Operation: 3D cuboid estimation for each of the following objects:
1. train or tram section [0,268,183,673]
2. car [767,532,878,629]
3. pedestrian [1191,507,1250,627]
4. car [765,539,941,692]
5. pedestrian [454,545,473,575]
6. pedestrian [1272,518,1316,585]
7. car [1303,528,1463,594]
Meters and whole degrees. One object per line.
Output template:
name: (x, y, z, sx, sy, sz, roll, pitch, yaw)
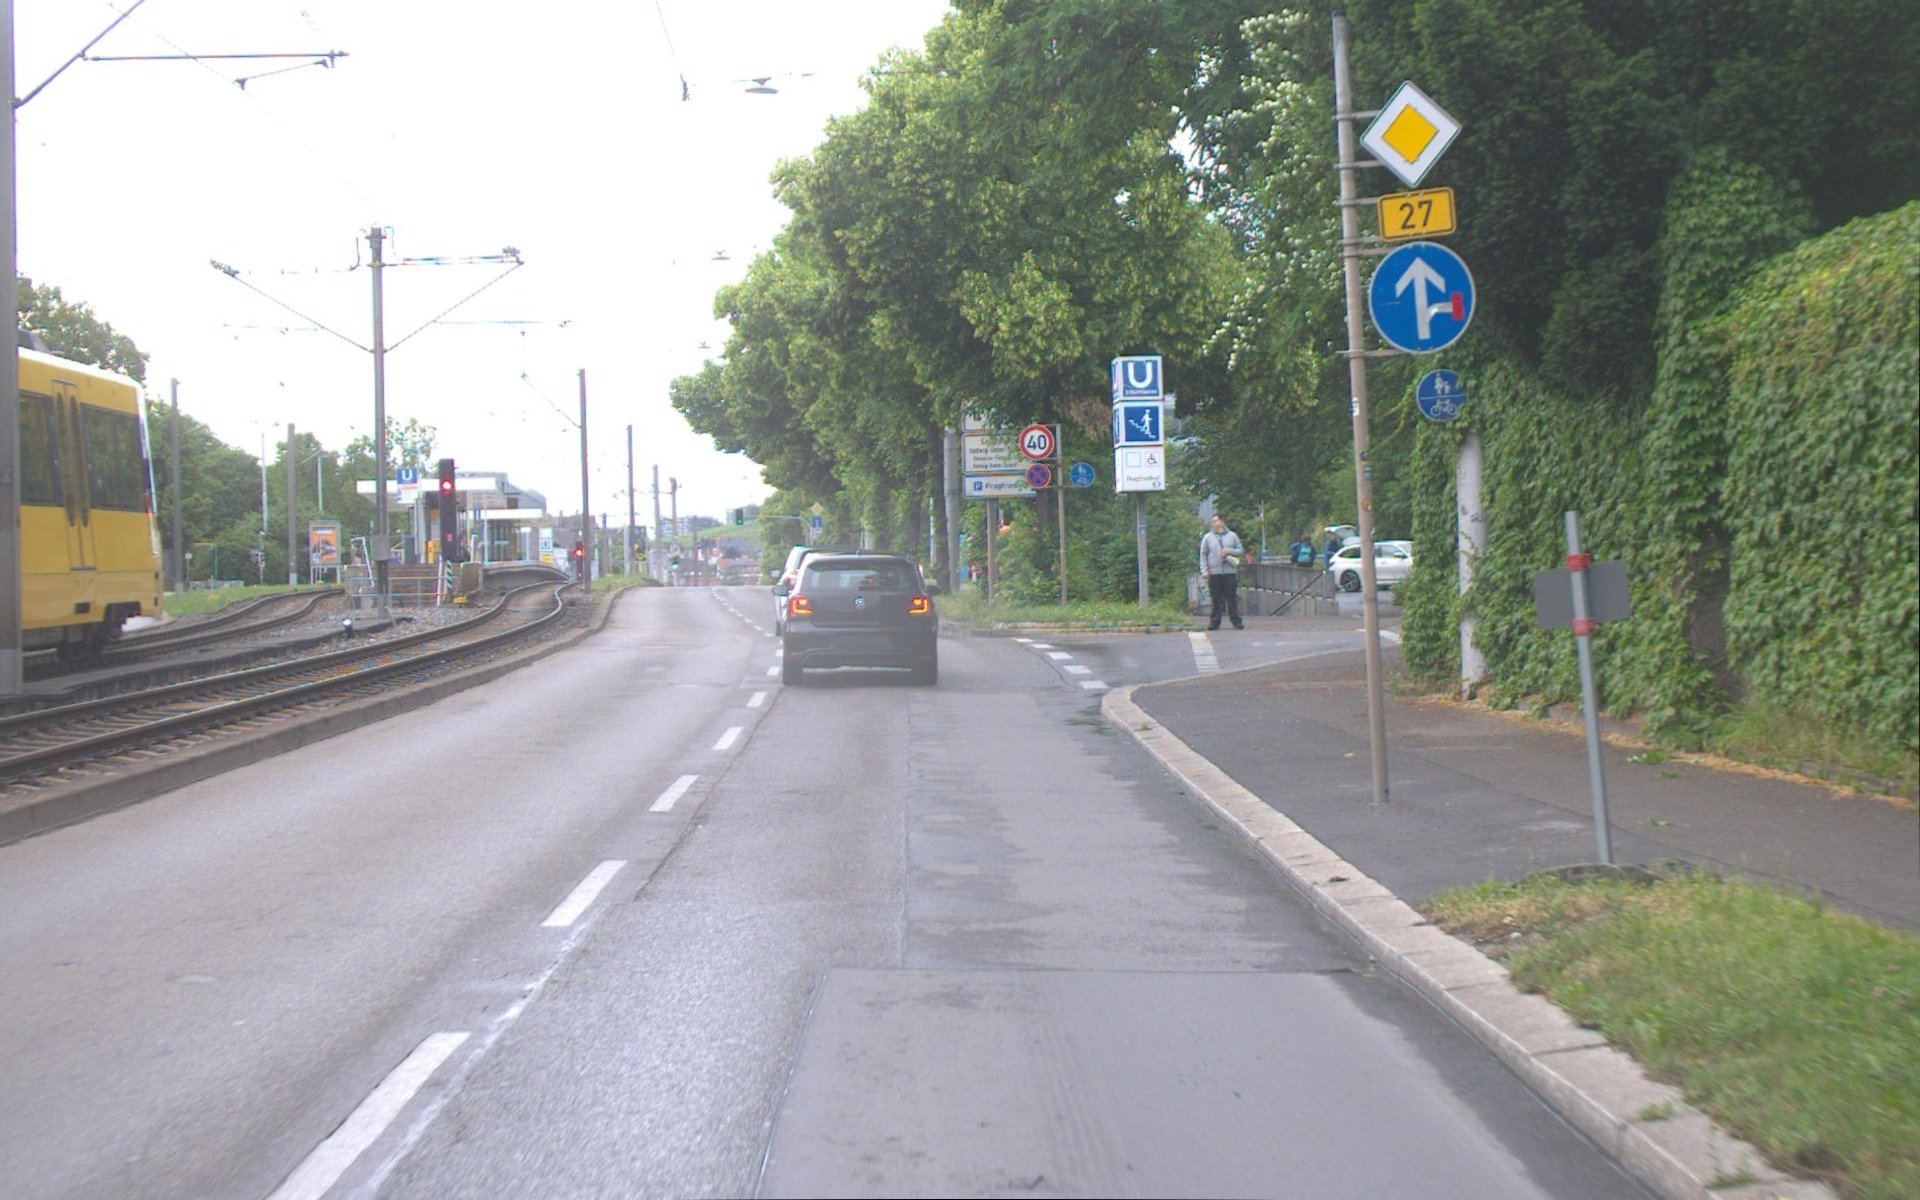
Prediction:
train or tram section: (-10.870, -1.286, 35.036, 2.828, 3.962, 17.880, -1, 1, -3)
car: (-2.341, -0.354, 57.618, 1.687, 1.512, 4.001, -1, 1, -4)
pedestrian: (4.046, -0.520, 53.435, 0.855, 1.847, 0.737, 0, 1, -1)
car: (-1.125, 0.123, 37.684, 1.727, 1.535, 4.000, -1, 1, 1)
pedestrian: (-20.138, -1.627, 139.328, 0.710, 1.221, 0.619, 0, 1, -4)
pedestrian: (10.067, -1.476, 103.769, 0.960, 2.007, 0.951, -1, 1, -28)
car: (12.655, -1.168, 102.986, 1.941, 1.828, 4.465, 0, 2, -45)
